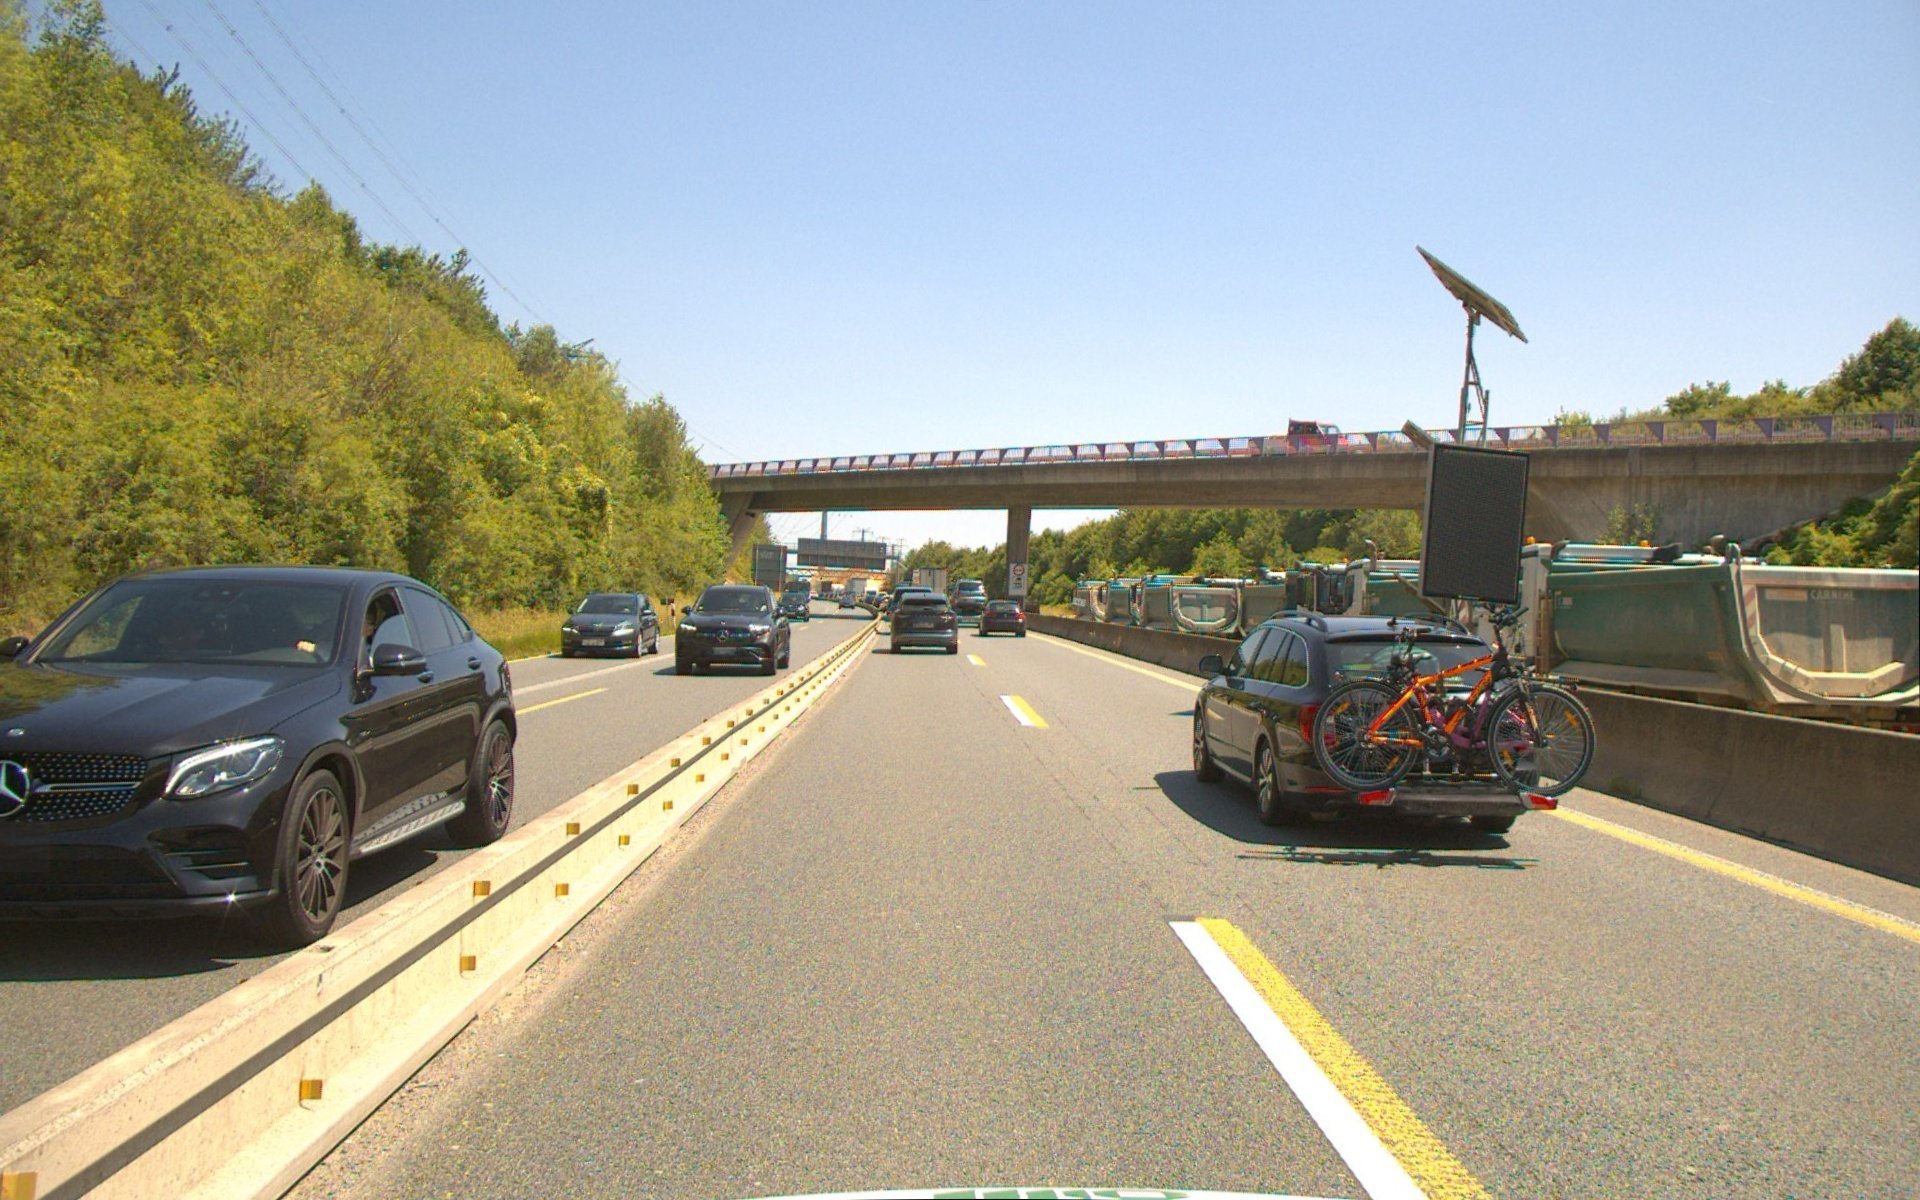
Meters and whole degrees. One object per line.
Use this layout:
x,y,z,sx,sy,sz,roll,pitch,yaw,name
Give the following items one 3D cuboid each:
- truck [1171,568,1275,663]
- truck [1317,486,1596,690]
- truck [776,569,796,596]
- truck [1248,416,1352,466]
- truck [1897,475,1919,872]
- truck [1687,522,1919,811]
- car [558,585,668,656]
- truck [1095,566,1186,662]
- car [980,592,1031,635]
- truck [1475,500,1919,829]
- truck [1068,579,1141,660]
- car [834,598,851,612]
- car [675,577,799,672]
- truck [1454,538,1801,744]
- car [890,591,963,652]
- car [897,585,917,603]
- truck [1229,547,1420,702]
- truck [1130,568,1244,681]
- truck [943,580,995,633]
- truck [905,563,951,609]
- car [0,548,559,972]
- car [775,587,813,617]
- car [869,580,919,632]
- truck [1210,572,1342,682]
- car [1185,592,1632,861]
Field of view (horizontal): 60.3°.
11.243,0.624,71.555,2.633,3.792,9.321,1,0,-2,truck
9.964,-0.223,34.472,2.633,3.619,9.321,1,0,-2,truck
-22.157,-2.179,210.605,2.460,3.242,10.096,1,0,-6,truck
17.664,-8.252,86.200,1.916,2.102,5.442,2,0,-37,truck
10.165,0.707,10.638,2.633,3.619,9.600,1,0,-1,truck
12.731,0.818,21.045,2.632,3.437,9.601,1,0,0,truck
-8.021,0.444,38.551,1.688,1.548,4.184,1,0,-1,car
7.890,0.583,73.496,2.633,3.923,9.321,1,0,-2,truck
1.805,0.536,66.432,1.860,1.613,4.275,1,0,-1,car
10.035,0.718,23.089,2.632,3.619,9.405,1,0,-1,truck
7.407,0.936,85.903,2.633,3.910,9.321,1,0,-2,truck
-12.460,0.498,175.648,1.640,1.418,4.069,1,0,-2,car
-4.253,0.433,32.213,1.806,1.638,4.698,2,0,-1,car
12.744,0.688,32.809,2.633,3.437,9.598,1,0,-2,truck
-0.900,0.568,45.385,1.860,1.531,4.275,1,0,-1,car
-5.900,-0.680,185.409,1.863,2.003,4.270,1,0,-6,car
9.400,0.563,43.870,2.633,3.619,9.321,1,0,-2,truck
8.326,0.840,61.931,2.633,3.826,9.321,1,0,-2,truck
0.415,0.277,86.863,2.357,2.603,7.497,1,0,-2,truck
-3.017,-1.266,150.472,3.229,3.912,10.096,1,0,-6,truck
-3.524,0.582,8.534,1.806,1.560,4.670,2,0,-1,car
-9.335,0.115,93.195,1.742,1.604,4.068,1,0,-1,car
-2.649,0.227,67.175,1.860,2.003,4.275,1,0,-1,car
11.292,0.904,60.131,2.633,3.619,9.321,1,0,-2,truck
2.951,0.752,12.101,1.860,1.516,4.946,1,0,-1,car
